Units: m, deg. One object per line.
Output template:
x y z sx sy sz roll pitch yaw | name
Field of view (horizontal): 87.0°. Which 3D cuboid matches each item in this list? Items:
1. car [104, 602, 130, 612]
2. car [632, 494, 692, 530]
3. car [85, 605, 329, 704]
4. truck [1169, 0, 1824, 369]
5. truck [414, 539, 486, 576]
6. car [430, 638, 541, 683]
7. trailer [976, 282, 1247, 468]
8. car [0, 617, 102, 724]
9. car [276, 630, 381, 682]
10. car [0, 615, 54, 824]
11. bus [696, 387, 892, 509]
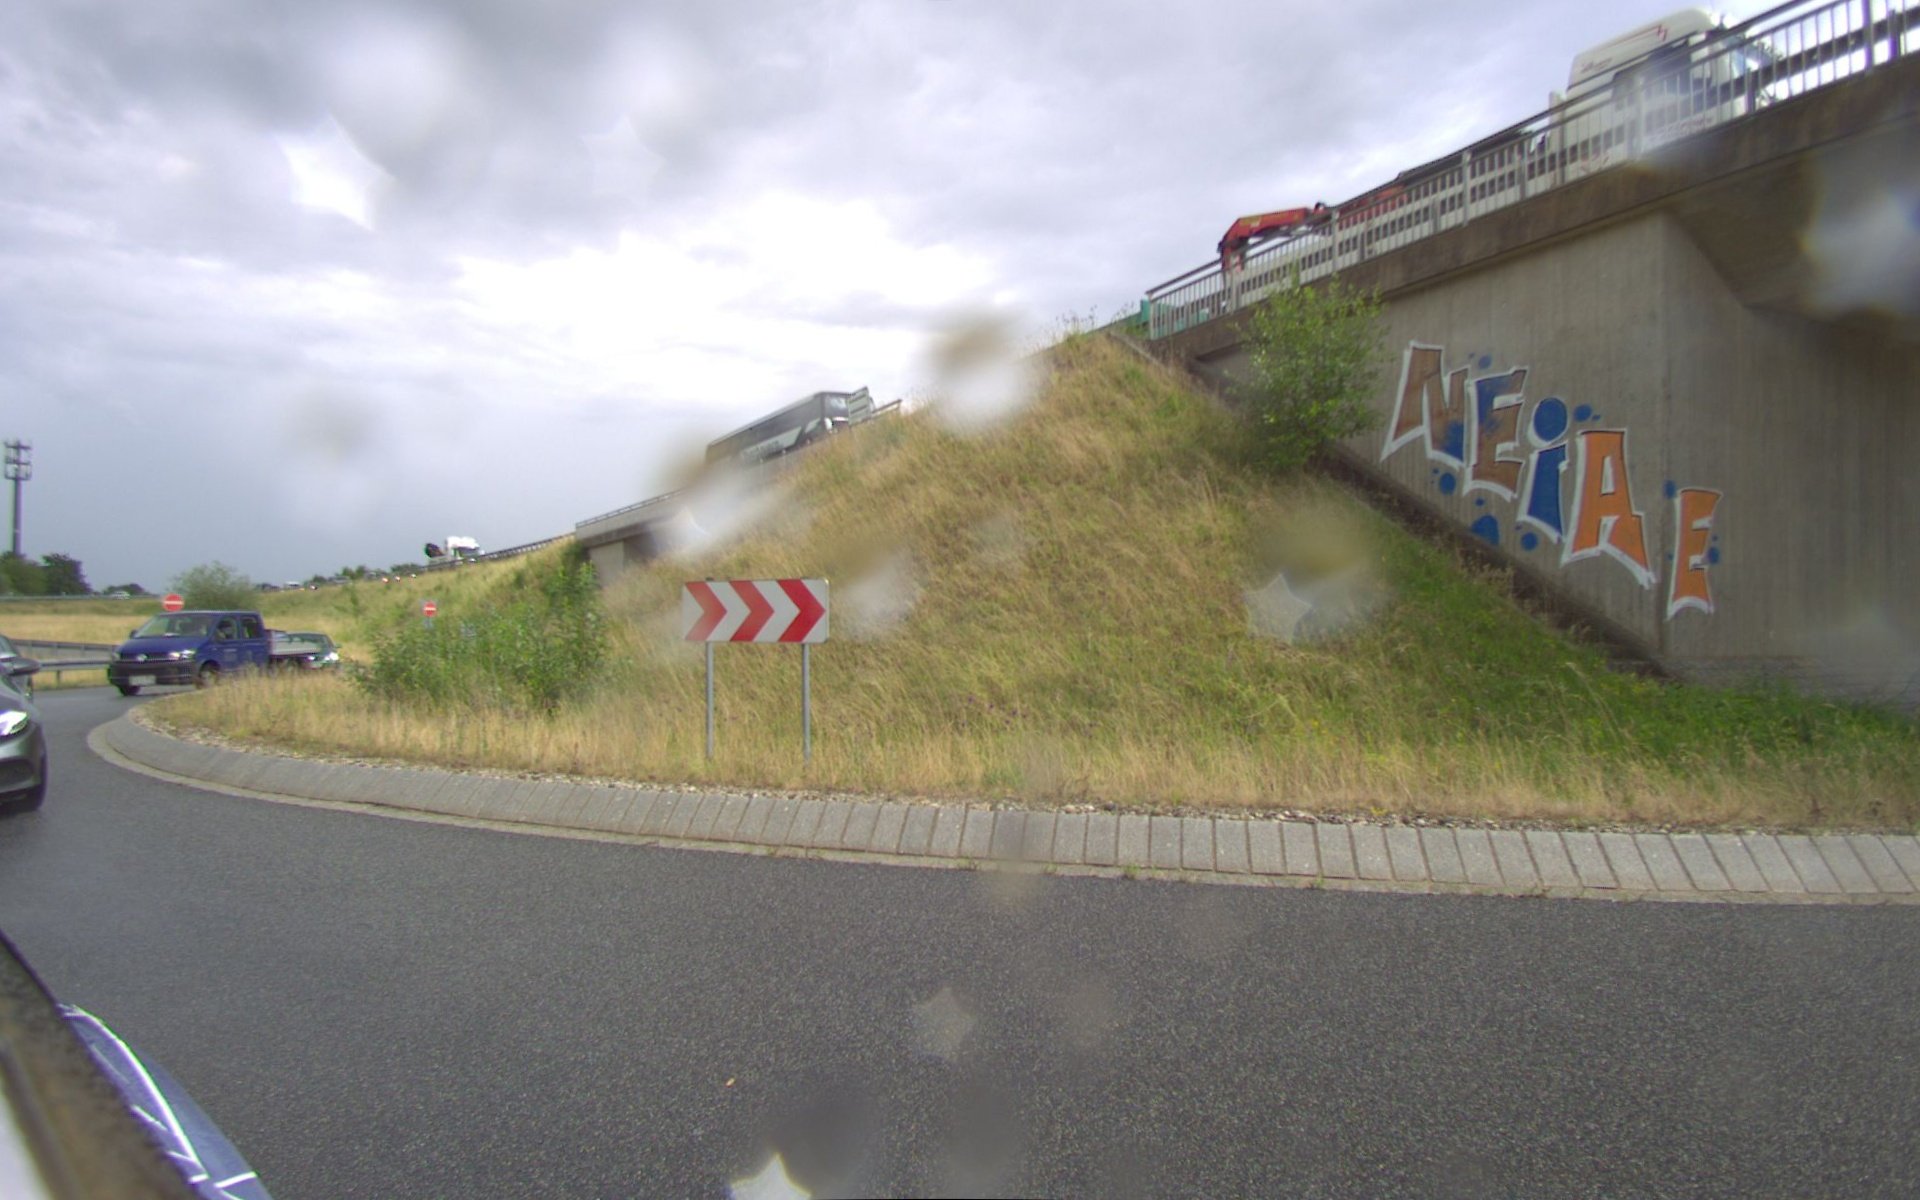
-138.566 1.200 166.361 1.738 1.655 3.903 -1 -1 -11 | car
-17.544 -5.128 59.467 1.688 1.536 4.503 -12 6 -37 | car
-18.120 1.198 24.812 1.866 1.929 5.685 -2 1 -2 | car
8.370 -6.888 18.295 2.169 2.895 10.857 -1 -1 -31 | truck
-50.994 -4.171 101.069 9.274 3.218 3.118 -1 -1 41 | truck
-17.070 2.142 36.620 1.557 1.548 3.911 -1 -2 13 | car
3.533 -5.484 26.382 2.150 2.893 8.356 -1 -1 -31 | trailer
-15.681 1.067 16.344 1.767 1.409 4.364 0 1 -26 | car
-19.580 1.721 31.558 1.745 1.496 3.844 1 -2 -16 | car
-8.629 0.888 7.766 4.585 1.402 1.749 -3 -4 38 | car
-7.732 -6.204 44.011 2.569 3.103 14.502 -1 -1 -34 | bus
